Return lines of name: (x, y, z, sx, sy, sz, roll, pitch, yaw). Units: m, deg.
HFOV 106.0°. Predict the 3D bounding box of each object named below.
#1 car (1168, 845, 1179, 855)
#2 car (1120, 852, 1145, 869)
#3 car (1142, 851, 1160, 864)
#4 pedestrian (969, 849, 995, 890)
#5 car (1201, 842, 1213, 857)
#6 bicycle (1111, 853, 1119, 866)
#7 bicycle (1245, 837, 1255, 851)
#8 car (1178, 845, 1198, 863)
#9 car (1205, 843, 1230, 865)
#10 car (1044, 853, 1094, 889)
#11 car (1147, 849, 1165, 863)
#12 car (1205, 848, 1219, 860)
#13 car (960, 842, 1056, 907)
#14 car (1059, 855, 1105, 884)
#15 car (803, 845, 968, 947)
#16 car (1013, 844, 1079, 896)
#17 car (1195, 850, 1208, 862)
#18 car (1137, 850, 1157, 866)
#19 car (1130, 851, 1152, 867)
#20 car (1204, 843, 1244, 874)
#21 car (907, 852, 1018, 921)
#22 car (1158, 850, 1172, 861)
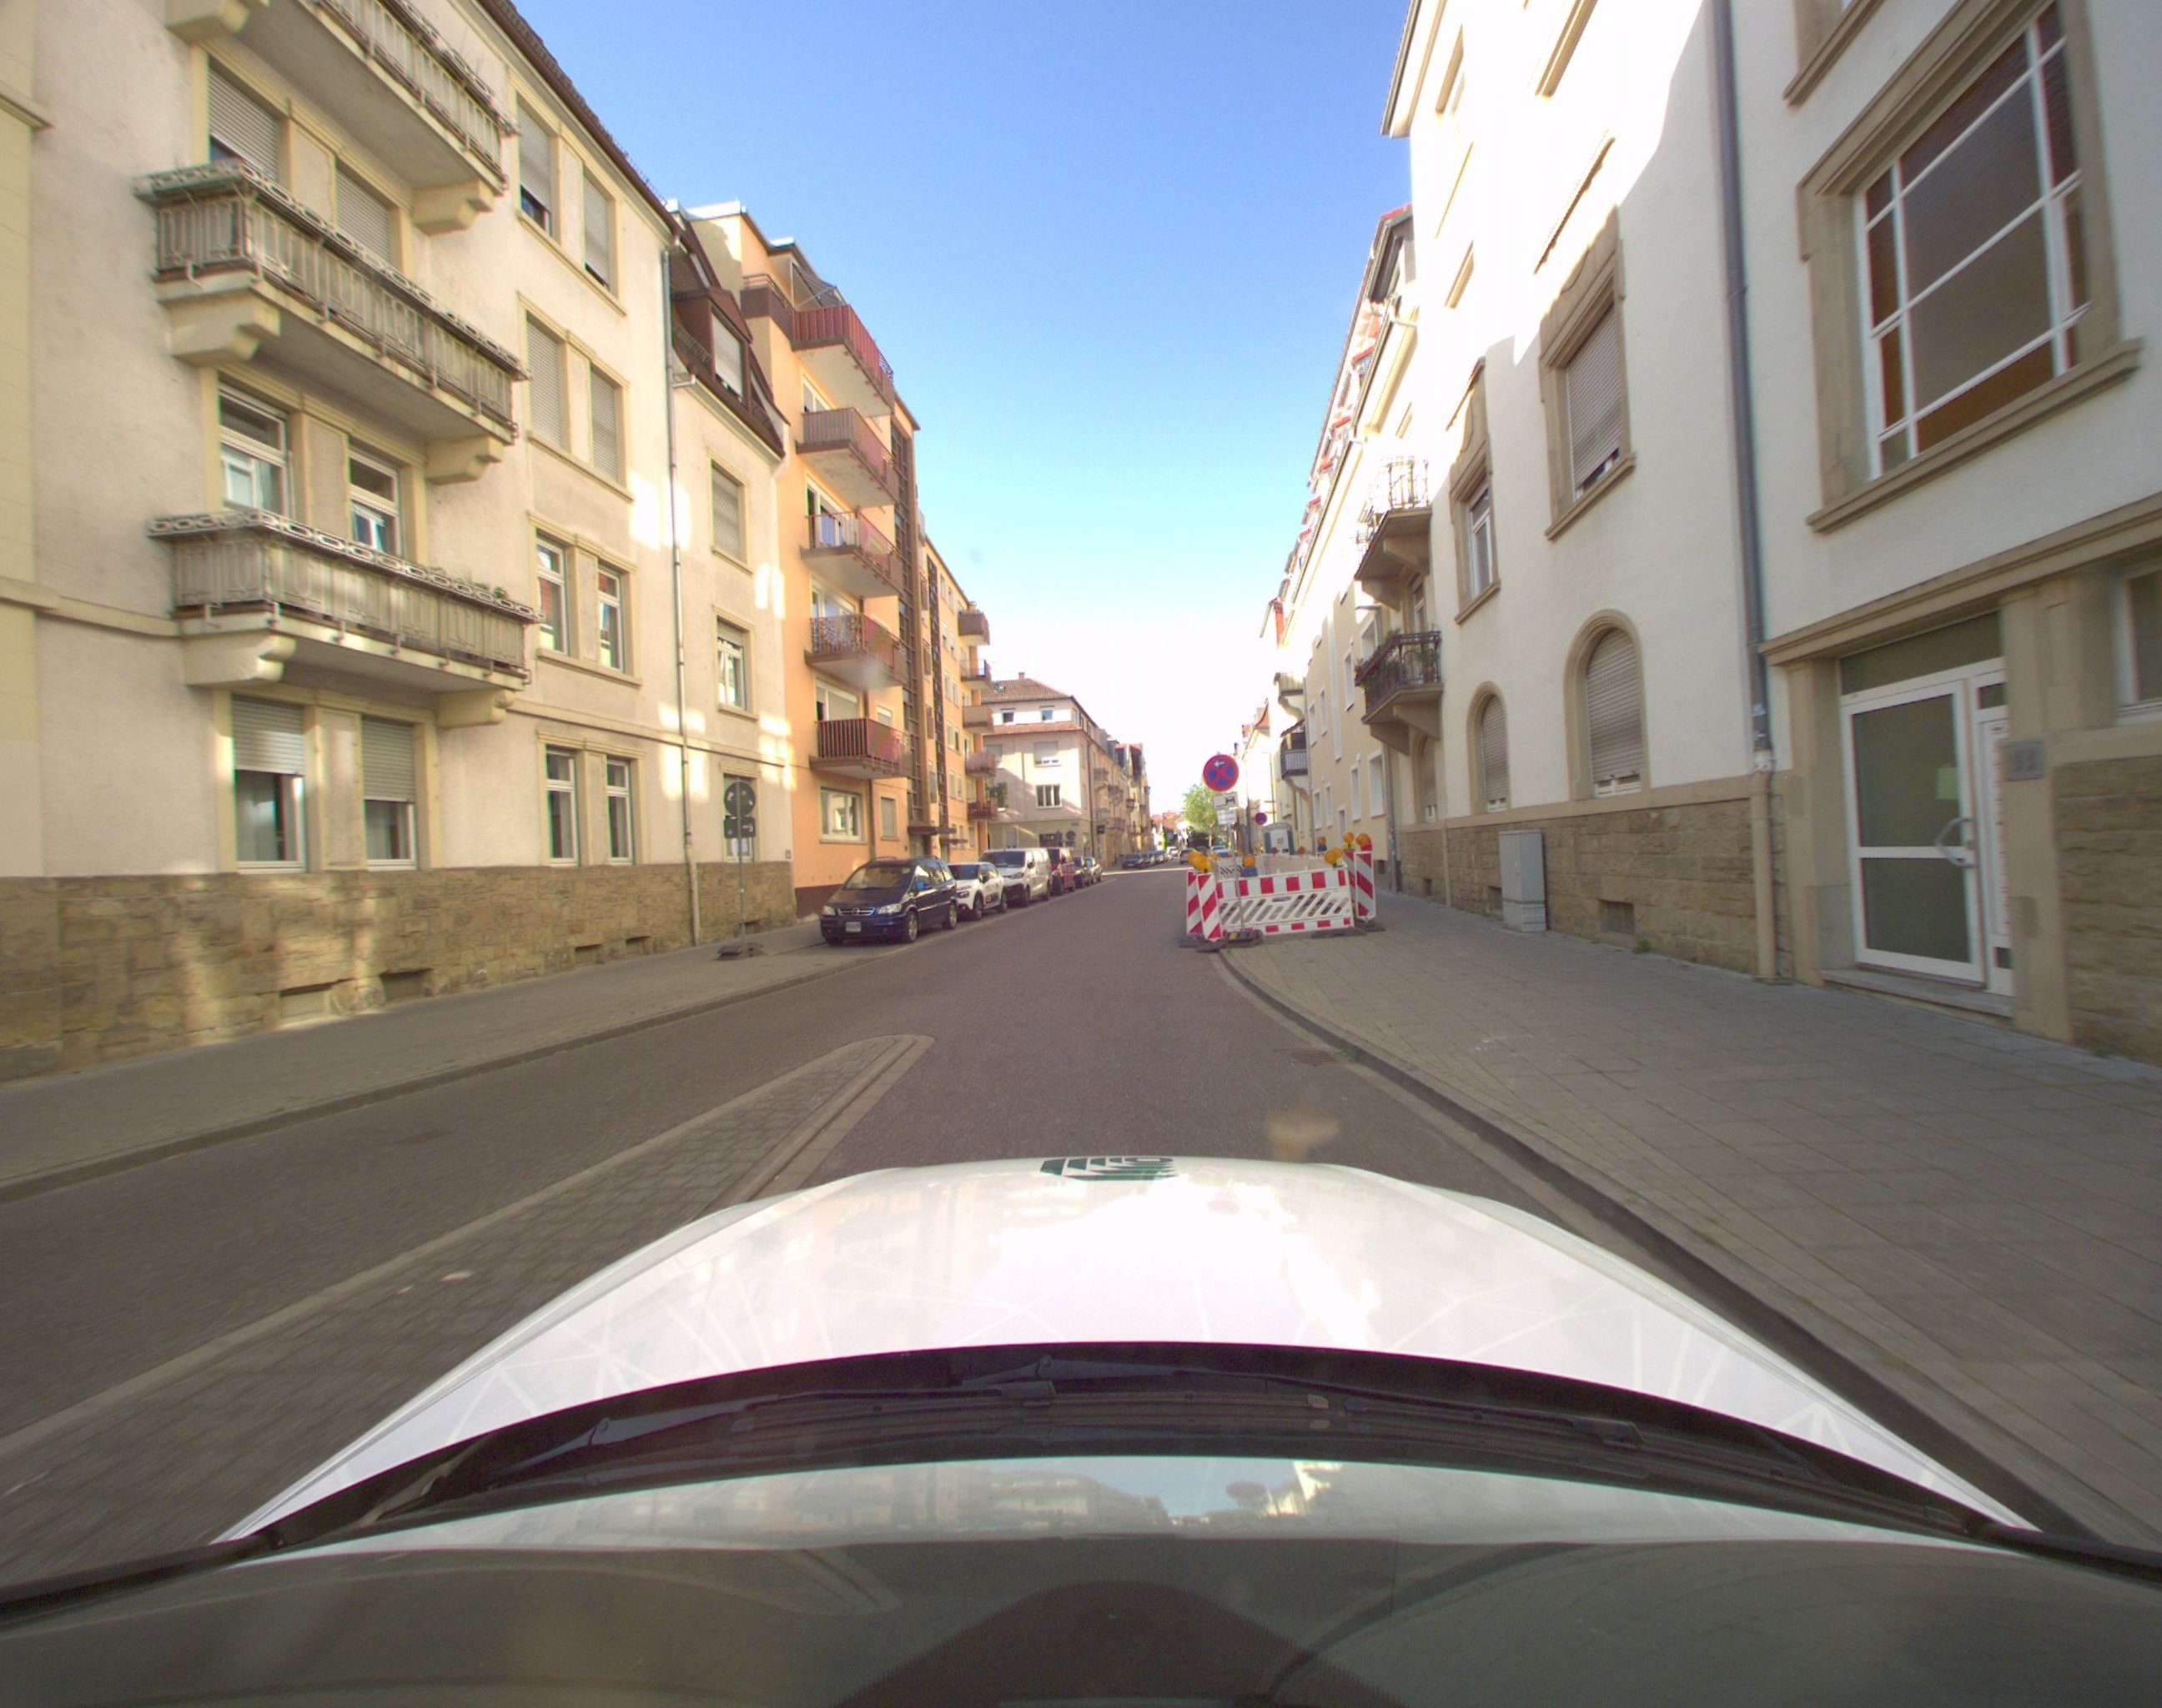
car: (18.103, -0.746, 159.358, 1.992, 2.000, 4.497, -1, -1, 8)
car: (4.563, 0.577, 71.768, 1.669, 1.426, 4.286, -1, -1, 10)
car: (8.458, 0.438, 98.321, 1.968, 1.482, 4.337, -1, -1, 8)
pedestrian: (-4.535, 0.694, 37.248, 0.919, 1.817, 0.996, -2, 0, 5)
car: (22.949, -0.838, 148.280, 1.828, 2.534, 4.186, -4, -2, 9)
bicycle: (3.659, 0.580, 87.903, 0.537, 1.301, 1.872, -2, 0, 10)
bicycle: (16.451, -0.983, 79.303, 0.757, 1.246, 2.598, -3, 0, 8)
car: (11.836, 0.004, 89.943, 1.992, 1.914, 4.498, -1, -1, 8)
car: (11.811, 0.051, 70.468, 1.901, 1.645, 4.787, -5, -2, 11)
car: (-0.503, 0.784, 39.183, 1.753, 1.502, 4.008, -4, 0, 7)
car: (9.542, 0.270, 102.983, 1.992, 1.619, 4.497, -1, -1, 8)
car: (18.954, 0.001, 117.751, 1.828, 1.431, 4.038, -5, -2, 9)
car: (-2.319, 0.623, 27.533, 1.964, 1.925, 5.321, -3, 0, 8)
car: (0.130, 0.803, 44.381, 1.752, 1.377, 4.490, -3, 0, 9)
car: (-3.840, 0.752, 16.826, 1.753, 1.771, 4.304, -3, 0, 8)
car: (-1.342, 0.596, 33.500, 1.752, 1.925, 4.946, -3, 0, 8)
car: (19.374, 0.326, 130.918, 1.992, 2.000, 4.497, -1, -1, 8)
car: (7.297, 0.457, 89.632, 1.992, 1.619, 4.497, -1, -1, 8)
car: (6.126, 0.492, 82.581, 1.992, 1.582, 4.497, -1, -1, 8)
car: (7.999, 0.238, 45.848, 1.754, 1.470, 4.091, -6, 0, 5)
car: (-3.097, 0.794, 22.193, 1.753, 1.621, 4.305, -3, 0, 8)
car: (13.359, 0.225, 128.764, 1.992, 1.605, 4.497, -1, -1, 8)
